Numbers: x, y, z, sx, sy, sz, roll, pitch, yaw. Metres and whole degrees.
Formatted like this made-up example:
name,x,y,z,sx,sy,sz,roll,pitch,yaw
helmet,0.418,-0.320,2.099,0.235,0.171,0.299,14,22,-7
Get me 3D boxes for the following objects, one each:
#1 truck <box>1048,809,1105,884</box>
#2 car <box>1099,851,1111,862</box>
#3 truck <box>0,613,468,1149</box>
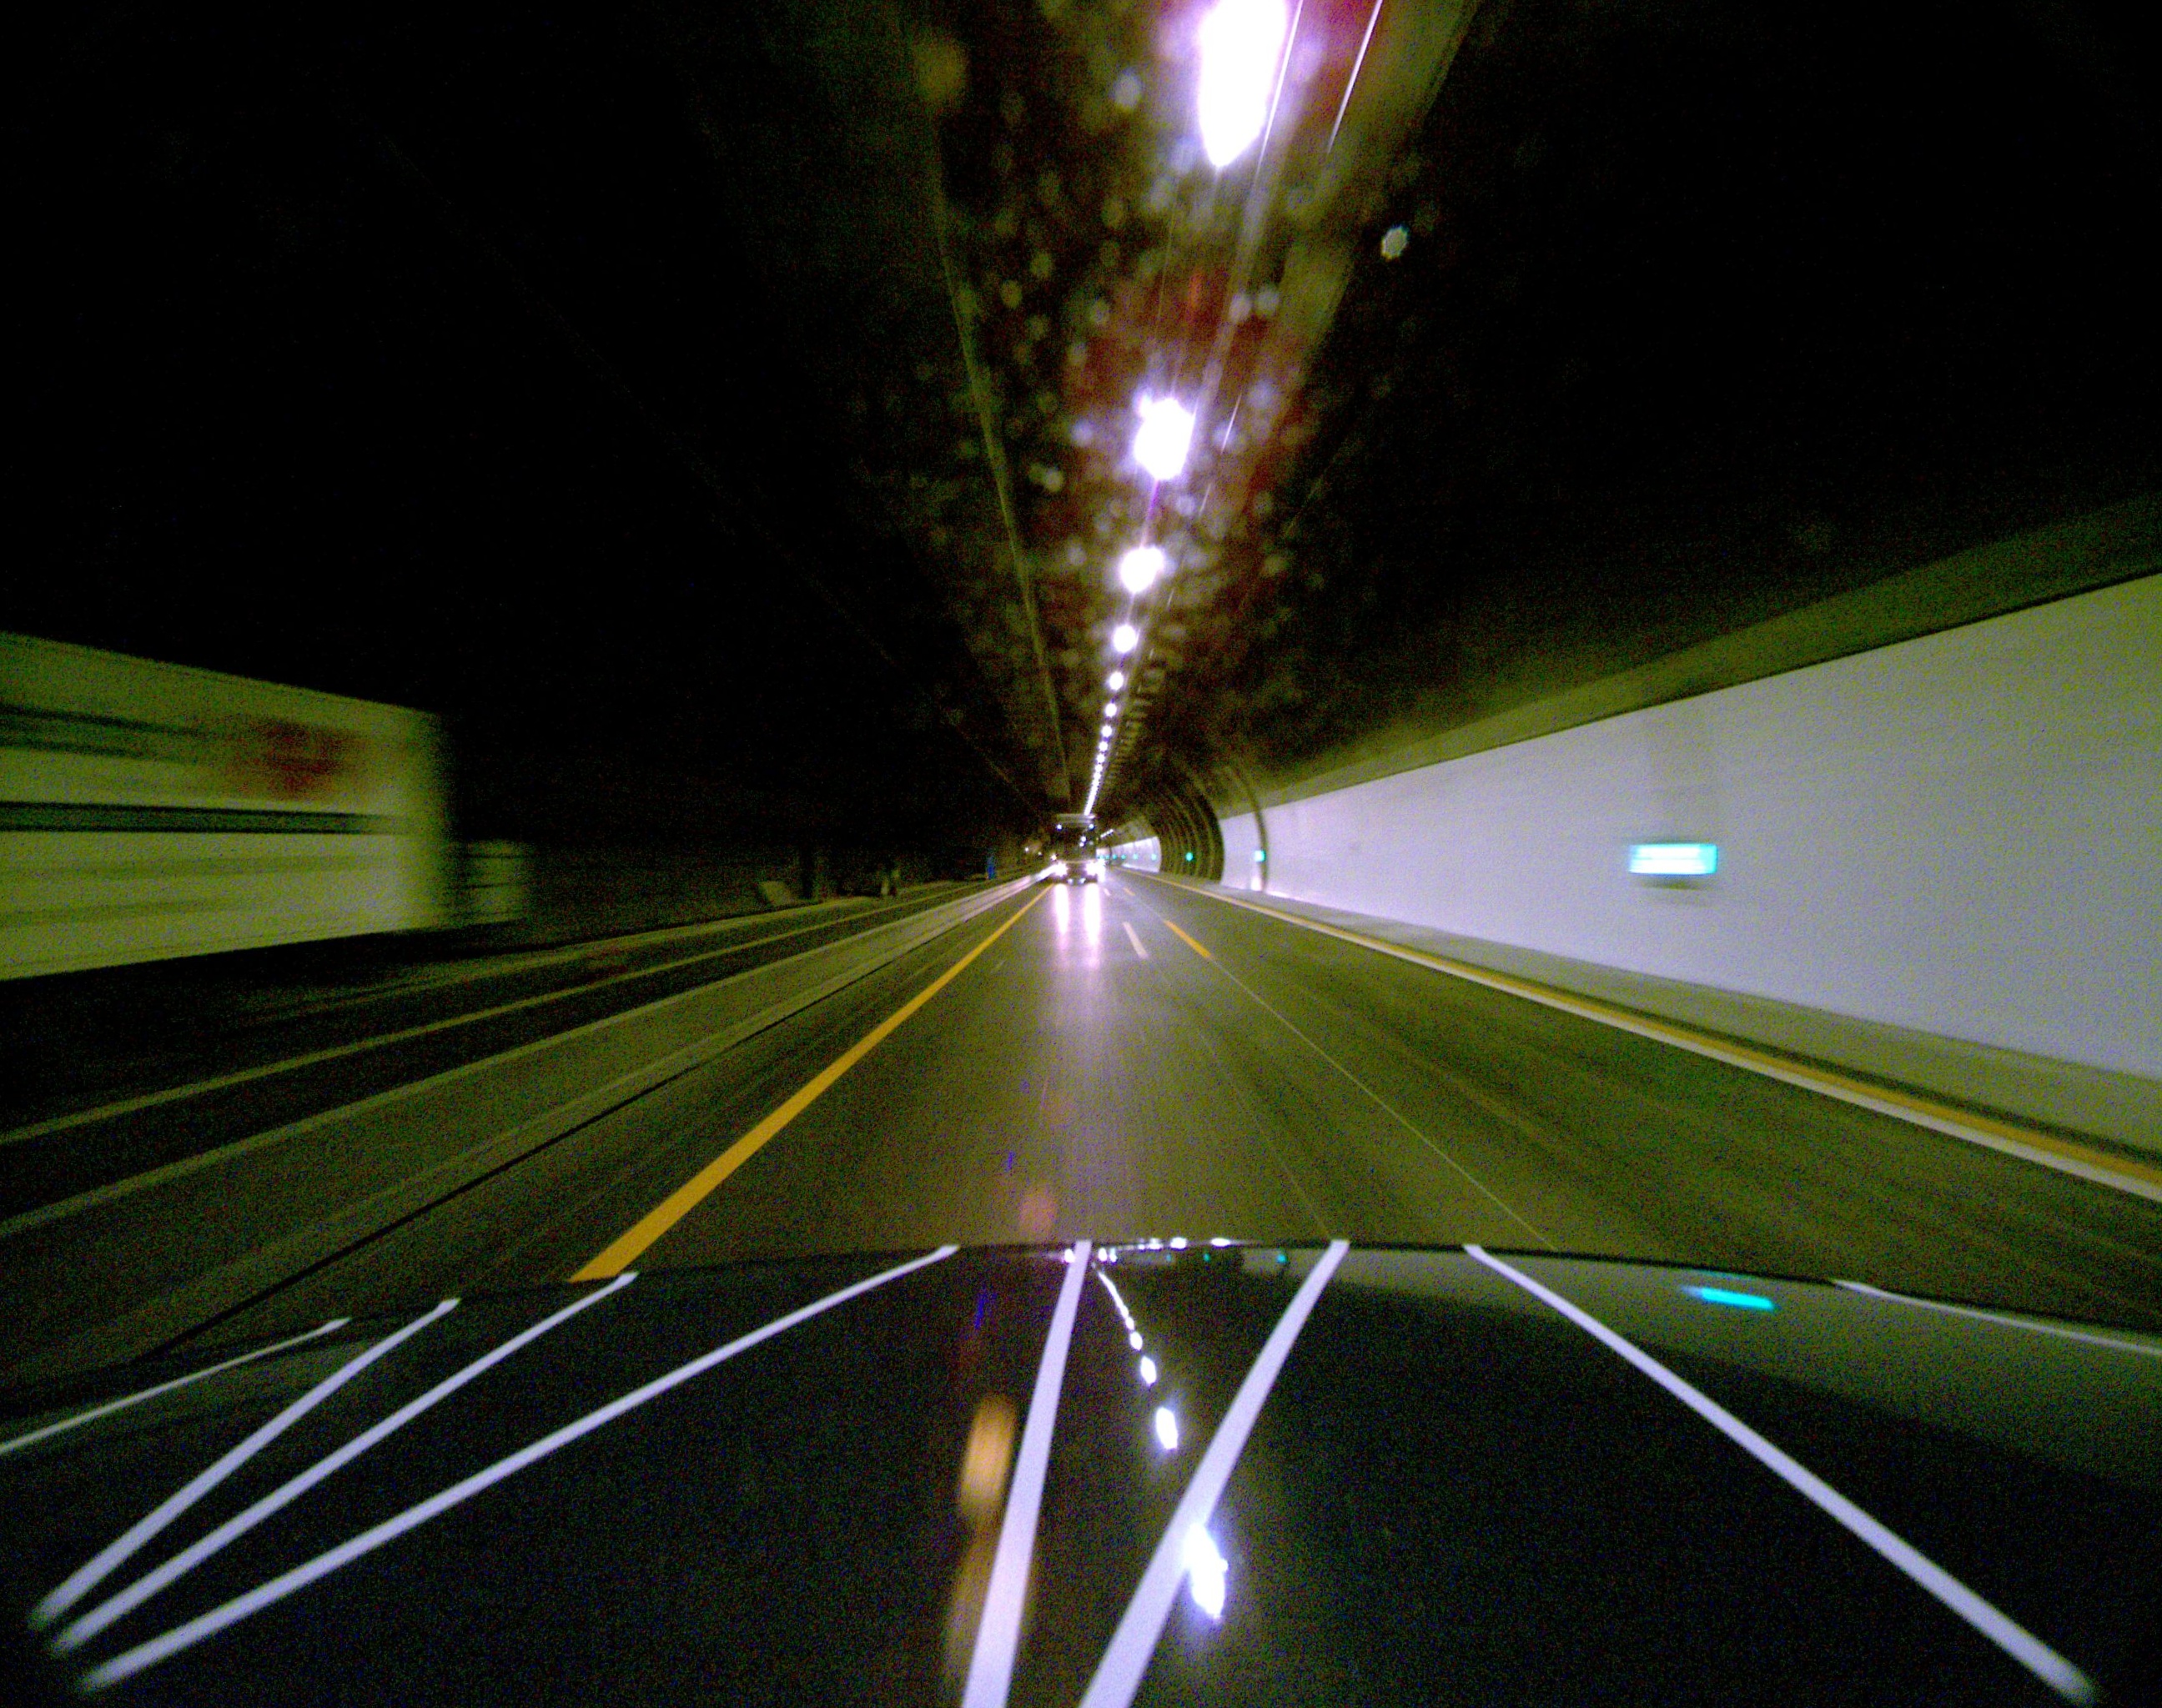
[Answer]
name,x,y,z,sx,sy,sz,roll,pitch,yaw
truck,-0.093,-0.475,49.427,2.953,4.241,11.053,-2,1,3
car,3.561,0.396,113.880,1.662,1.586,3.996,-2,1,3
truck,-8.000,0.212,3.885,2.825,3.267,8.351,-2,1,0
